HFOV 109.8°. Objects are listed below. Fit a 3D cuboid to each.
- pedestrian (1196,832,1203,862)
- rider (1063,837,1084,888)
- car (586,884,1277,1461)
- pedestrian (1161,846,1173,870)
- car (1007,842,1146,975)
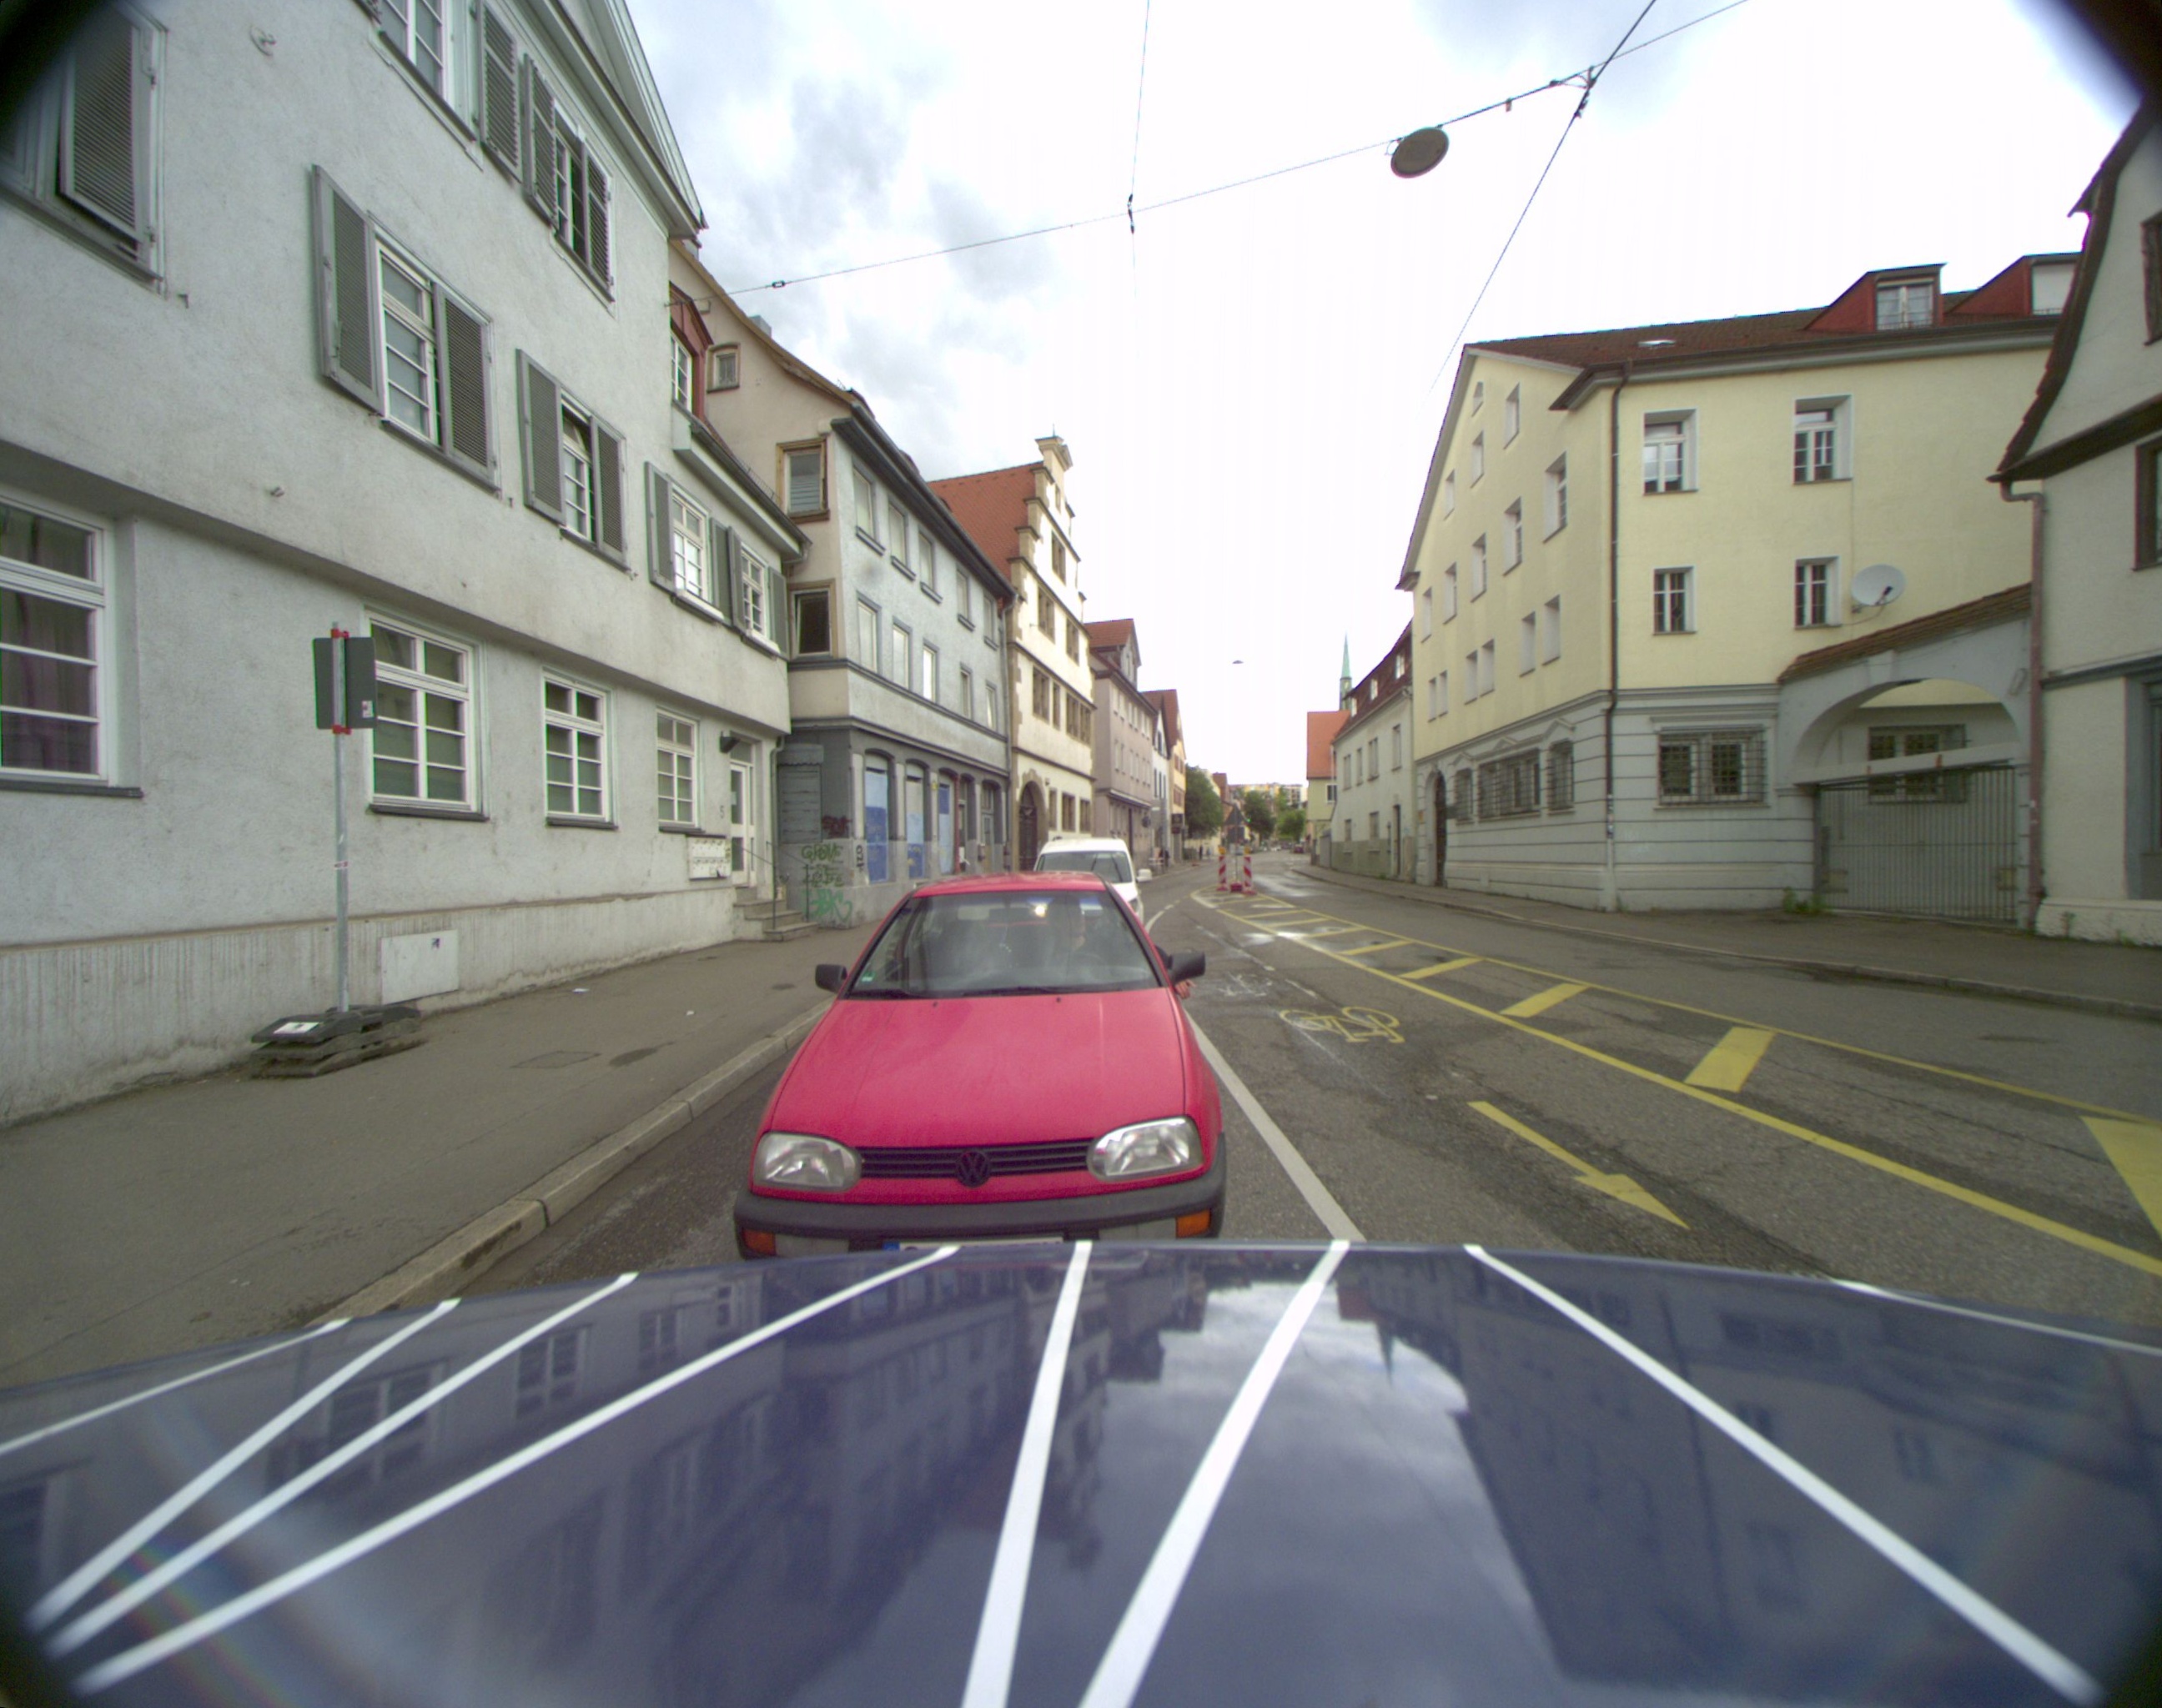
[{"bbox_3d":[9.951,-0.608,63.825,0.495,2.513,0.746,-1,1,12],"label":"pedestrian"},{"bbox_3d":[-0.269,0.304,27.963,0.719,1.837,0.797,-1,1,1],"label":"rider"},{"bbox_3d":[-0.327,0.917,3.984,1.792,1.417,4.001,-1,-1,2],"label":"car"},{"bbox_3d":[5.726,0.274,50.590,0.725,1.604,0.649,-1,0,10],"label":"pedestrian"},{"bbox_3d":[0.032,0.694,12.166,1.814,1.695,4.256,-1,1,2],"label":"car"}]
